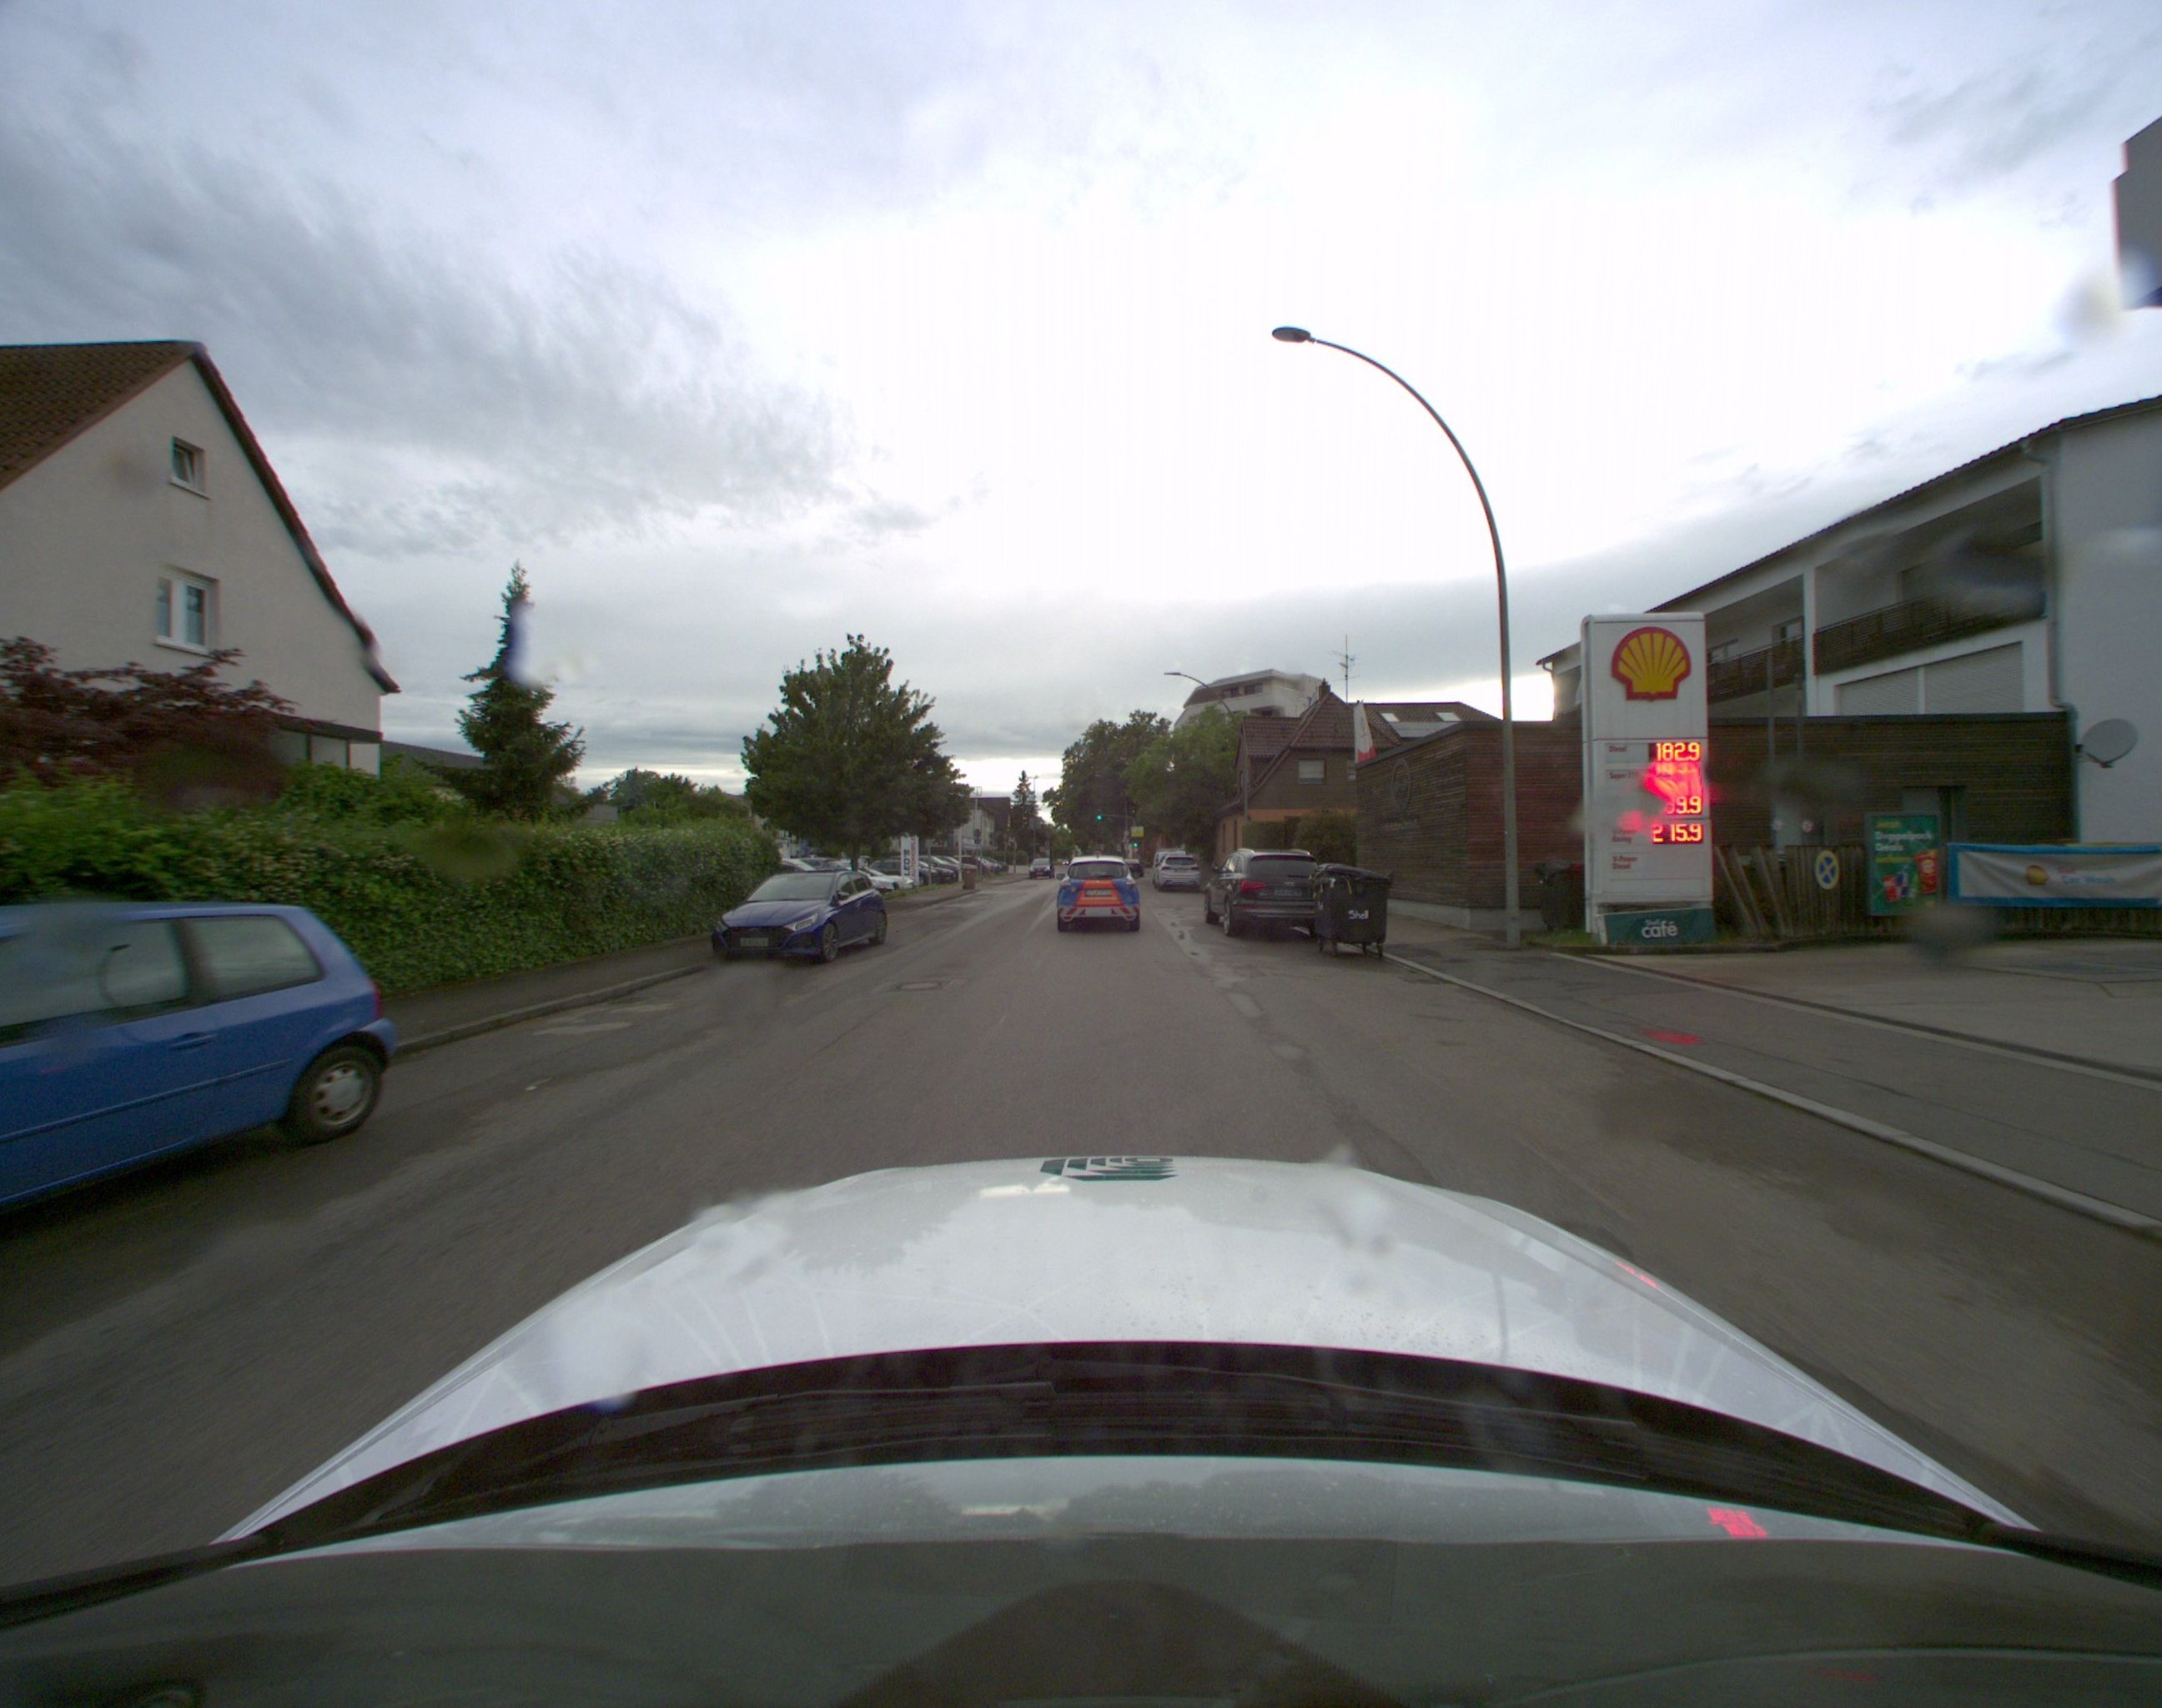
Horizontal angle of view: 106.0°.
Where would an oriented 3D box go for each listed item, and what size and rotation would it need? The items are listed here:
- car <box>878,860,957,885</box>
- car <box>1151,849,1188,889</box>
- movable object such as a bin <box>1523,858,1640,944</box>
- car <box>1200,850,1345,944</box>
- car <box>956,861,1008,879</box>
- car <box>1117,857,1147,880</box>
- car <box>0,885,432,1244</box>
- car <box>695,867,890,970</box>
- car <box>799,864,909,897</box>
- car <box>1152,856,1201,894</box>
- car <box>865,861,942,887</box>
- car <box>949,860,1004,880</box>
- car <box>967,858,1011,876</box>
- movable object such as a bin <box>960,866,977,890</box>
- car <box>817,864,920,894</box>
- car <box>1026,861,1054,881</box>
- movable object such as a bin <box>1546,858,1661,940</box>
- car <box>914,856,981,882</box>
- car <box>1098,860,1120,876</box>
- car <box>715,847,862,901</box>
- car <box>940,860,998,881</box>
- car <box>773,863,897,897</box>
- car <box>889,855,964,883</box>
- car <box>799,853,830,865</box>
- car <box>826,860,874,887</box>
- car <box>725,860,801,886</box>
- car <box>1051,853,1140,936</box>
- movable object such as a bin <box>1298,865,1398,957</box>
[{"bbox_3d":[-9.844,1.125,49.375,4.330,1.464,1.942,0,0,2],"label":"car"},{"bbox_3d":[4.733,0.753,44.065,1.770,2.029,4.759,1,1,4],"label":"car"},{"bbox_3d":[8.337,0.752,13.651,1.098,1.340,1.384,-1,0,-1],"label":"movable object such as a bin"},{"bbox_3d":[3.799,0.768,17.042,2.083,1.662,4.561,1,1,1],"label":"car"},{"bbox_3d":[-8.067,1.289,66.716,3.969,1.441,1.805,0,0,4],"label":"car"},{"bbox_3d":[3.720,1.033,59.728,1.987,1.574,4.000,1,1,0],"label":"car"},{"bbox_3d":[-5.231,0.932,3.710,1.540,1.403,3.598,-2,0,2],"label":"car"},{"bbox_3d":[-4.730,0.992,14.021,1.800,1.403,3.946,-2,0,2],"label":"car"},{"bbox_3d":[-10.188,1.171,36.764,4.360,1.374,1.889,-1,0,1],"label":"car"},{"bbox_3d":[4.385,0.948,37.915,1.859,1.665,4.321,0,0,1],"label":"car"},{"bbox_3d":[-10.161,1.145,46.893,3.971,1.464,1.840,0,0,2],"label":"car"},{"bbox_3d":[-8.211,1.270,64.208,3.969,1.544,1.805,0,0,4],"label":"car"},{"bbox_3d":[-8.374,1.163,73.922,3.944,1.530,1.618,0,1,-9],"label":"car"},{"bbox_3d":[-5.439,1.157,39.449,0.705,1.130,0.735,0,-1,2],"label":"movable object such as a bin"},{"bbox_3d":[-10.168,1.196,39.182,4.435,1.332,1.772,-1,0,1],"label":"car"},{"bbox_3d":[-2.999,1.240,60.285,1.619,1.433,3.687,-1,0,3],"label":"car"},{"bbox_3d":[9.091,0.751,14.247,1.098,1.340,1.384,-1,0,-1],"label":"movable object such as a bin"},{"bbox_3d":[-9.334,1.038,57.106,4.330,1.690,1.960,0,0,2],"label":"car"},{"bbox_3d":[2.564,1.294,75.817,1.789,1.428,3.998,1,1,-2],"label":"car"},{"bbox_3d":[-10.366,0.688,29.117,4.546,1.790,1.896,-1,0,-3],"label":"car"},{"bbox_3d":[-8.432,1.249,61.461,3.969,1.544,1.805,0,0,4],"label":"car"},{"bbox_3d":[-10.218,1.067,34.074,4.541,1.309,1.889,-1,0,1],"label":"car"},{"bbox_3d":[-9.777,0.933,51.742,4.330,1.691,2.060,0,0,2],"label":"car"},{"bbox_3d":[-39.590,0.733,121.112,1.974,1.723,4.025,1,1,39],"label":"car"},{"bbox_3d":[-14.315,1.173,50.701,1.685,1.530,4.002,-1,0,2],"label":"car"},{"bbox_3d":[-19.701,1.170,50.601,3.975,1.530,1.837,-1,0,-1],"label":"car"},{"bbox_3d":[0.344,0.801,18.168,1.739,1.581,4.002,-1,0,2],"label":"car"},{"bbox_3d":[4.358,0.893,13.427,1.123,1.388,1.503,-1,0,0],"label":"movable object such as a bin"}]
